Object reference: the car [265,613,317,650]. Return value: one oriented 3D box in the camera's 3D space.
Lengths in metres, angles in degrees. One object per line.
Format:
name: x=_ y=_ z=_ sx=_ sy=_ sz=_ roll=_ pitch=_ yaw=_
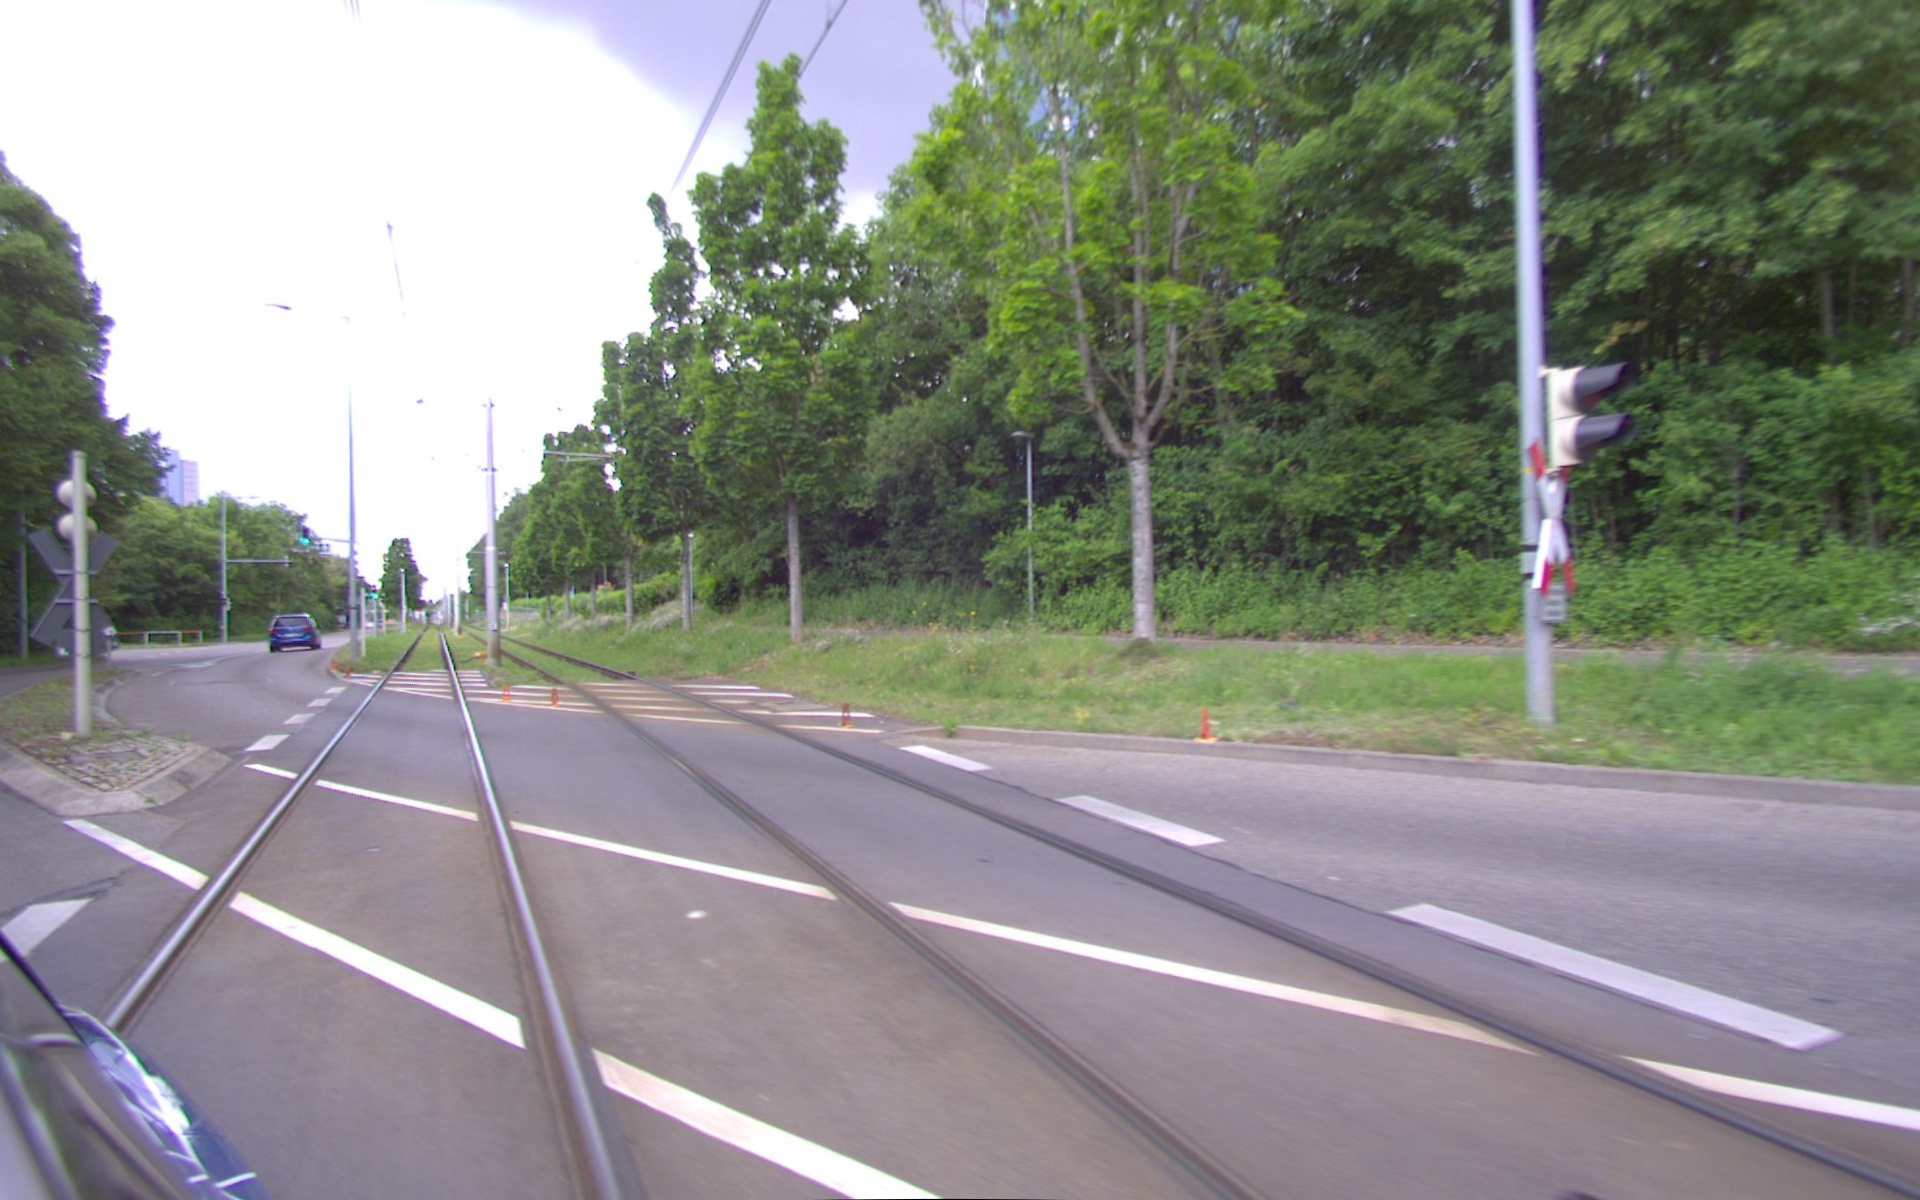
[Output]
car: x=-30.363 y=1.448 z=46.036 sx=1.842 sy=1.532 sz=4.250 roll=-2 pitch=-1 yaw=-32
